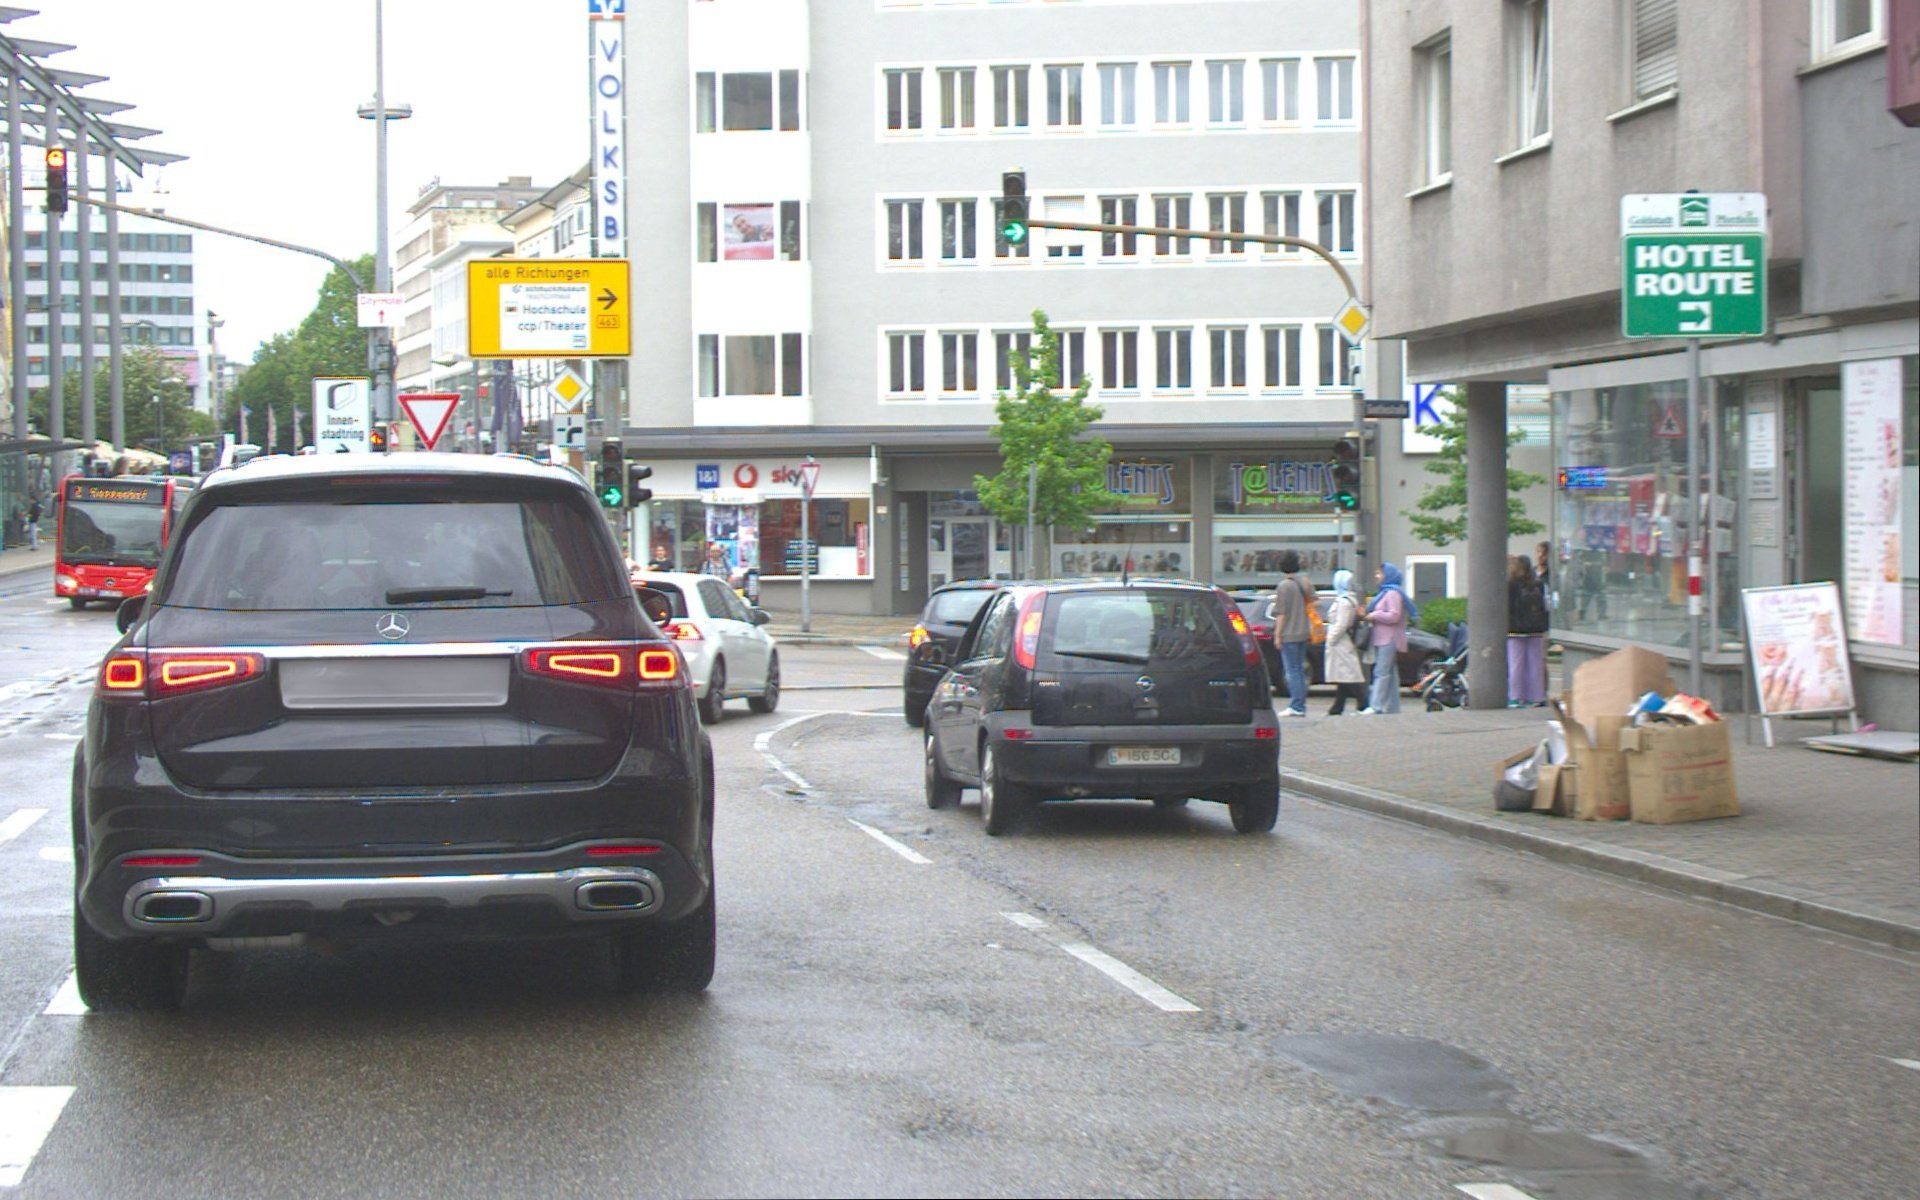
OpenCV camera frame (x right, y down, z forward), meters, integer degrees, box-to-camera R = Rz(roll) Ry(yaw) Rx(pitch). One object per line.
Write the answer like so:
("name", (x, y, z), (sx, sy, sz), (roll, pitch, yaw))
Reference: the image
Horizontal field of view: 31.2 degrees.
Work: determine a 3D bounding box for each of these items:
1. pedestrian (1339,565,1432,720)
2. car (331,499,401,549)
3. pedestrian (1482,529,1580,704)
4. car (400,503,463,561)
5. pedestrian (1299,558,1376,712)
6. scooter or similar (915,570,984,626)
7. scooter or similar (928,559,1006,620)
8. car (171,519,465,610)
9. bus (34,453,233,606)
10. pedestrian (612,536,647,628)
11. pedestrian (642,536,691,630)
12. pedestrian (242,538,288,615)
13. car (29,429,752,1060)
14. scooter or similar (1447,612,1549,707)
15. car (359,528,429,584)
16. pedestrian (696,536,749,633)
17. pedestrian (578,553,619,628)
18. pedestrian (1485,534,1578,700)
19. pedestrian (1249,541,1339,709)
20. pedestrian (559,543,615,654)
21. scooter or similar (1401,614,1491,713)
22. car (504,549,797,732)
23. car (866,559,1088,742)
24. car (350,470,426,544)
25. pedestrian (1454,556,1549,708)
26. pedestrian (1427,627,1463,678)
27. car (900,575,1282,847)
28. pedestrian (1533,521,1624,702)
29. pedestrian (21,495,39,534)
("pedestrian", (4.596, 0.463, 37.110), (0.744, 1.630, 0.595), (-4, -3, 33))
("car", (-22.166, -2.834, 128.434), (2.422, 1.774, 5.156), (2, 1, -9))
("pedestrian", (6.284, 0.189, 37.844), (0.835, 1.859, 0.658), (-3, -3, -4))
("car", (-17.296, -2.224, 112.405), (1.860, 1.820, 4.105), (2, 1, -11))
("pedestrian", (4.143, 0.393, 37.780), (0.539, 1.632, 0.838), (-3, -3, -9))
("scooter or similar", (-0.217, -0.048, 72.889), (1.380, 1.183, 0.544), (0, 1, 12))
("scooter or similar", (0.159, -0.227, 74.701), (1.498, 1.252, 0.930), (1, -1, 12))
("car", (-10.720, -0.601, 57.689), (4.737, 1.441, 1.792), (1, 1, -7))
("bus", (-20.167, -1.687, 84.978), (2.919, 3.309, 18.483), (1, 1, -8))
("pedestrian", (-6.009, -0.325, 62.553), (0.569, 1.663, 0.502), (1, 1, -1))
("pedestrian", (-5.347, -0.309, 62.621), (0.781, 1.683, 0.639), (2, 1, 1))
("pedestrian", (-17.479, -0.593, 86.496), (0.954, 1.880, 0.810), (2, 1, -1))
("car", (-2.129, 0.345, 12.419), (2.087, 1.810, 4.794), (0, 2, -12))
("scooter or similar", (5.789, 0.649, 37.033), (0.770, 0.983, 1.048), (-1, -2, -9))
("car", (-15.977, -1.257, 97.185), (1.737, 1.522, 4.001), (2, 1, -7))
("pedestrian", (-4.416, -0.289, 63.901), (0.829, 1.772, 0.618), (2, 1, -14))
("pedestrian", (-6.578, -0.182, 62.534), (0.630, 1.335, 0.588), (2, 1, -14))
("pedestrian", (6.014, 0.184, 36.204), (0.835, 1.717, 0.617), (-1, -2, 0))
("pedestrian", (3.408, 0.259, 35.037), (0.627, 1.686, 0.781), (-2, -1, 27))
("pedestrian", (-5.369, -0.017, 49.523), (0.713, 1.563, 0.855), (2, 0, -4))
("scooter or similar", (5.614, 0.729, 39.678), (0.970, 1.105, 0.655), (-2, 0, 11))
("car", (-3.032, 0.350, 34.532), (1.951, 1.568, 3.999), (2, 2, 9))
("car", (0.230, 0.457, 34.852), (1.950, 1.568, 4.000), (2, 2, 4))
("car", (-28.071, -4.528, 168.942), (2.444, 3.453, 6.153), (2, 1, 2))
("pedestrian", (6.224, 0.363, 39.553), (1.036, 1.717, 0.838), (-1, 0, 9))
("pedestrian", (5.601, 0.604, 39.708), (0.371, 0.569, 0.458), (-2, 0, 11))
("car", (0.668, 0.594, 20.166), (1.716, 1.415, 3.771), (1, 0, -6))
("pedestrian", (6.672, 0.130, 37.116), (0.818, 1.925, 0.732), (-1, -1, 0))
("pedestrian", (-31.890, -2.933, 117.864), (0.510, 1.336, 0.420), (2, 1, -5))
